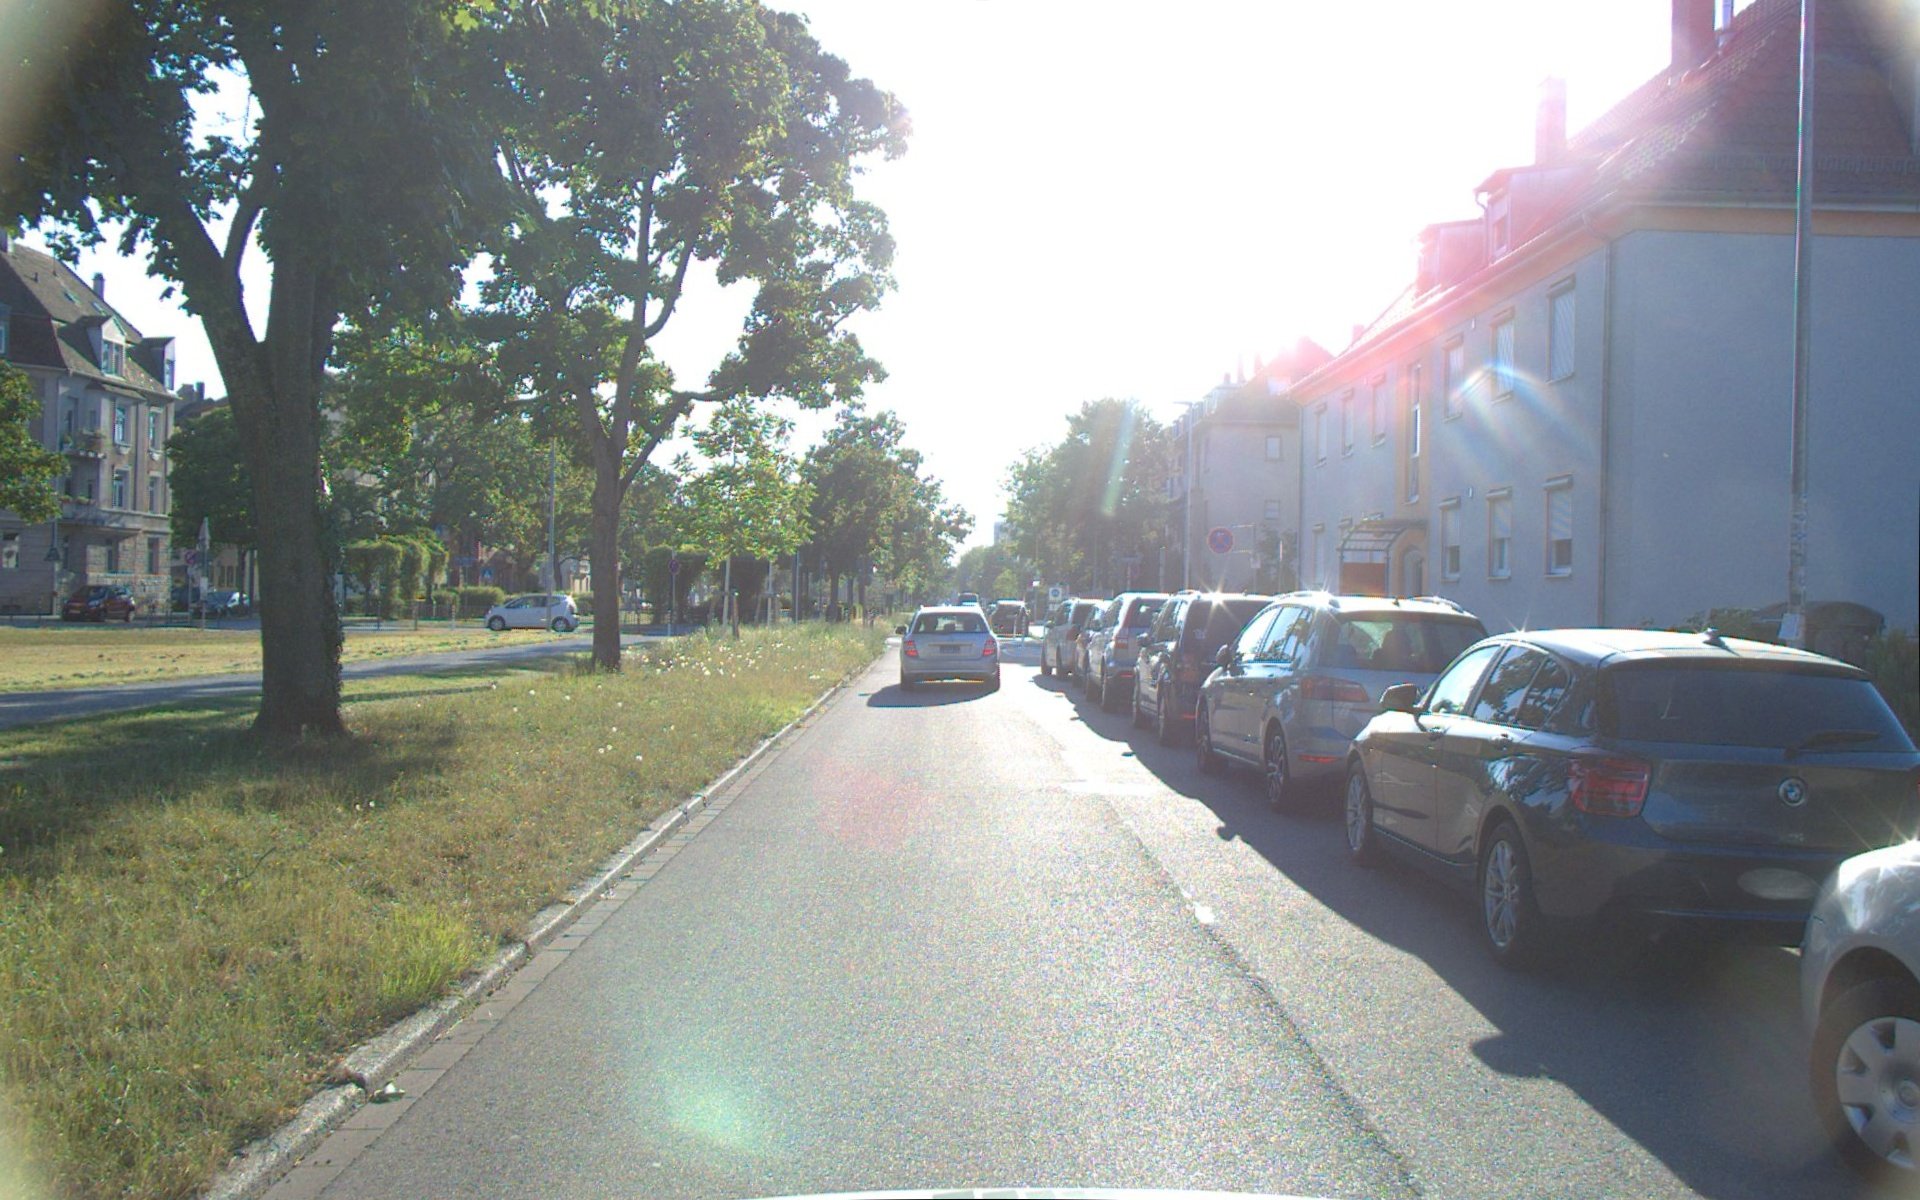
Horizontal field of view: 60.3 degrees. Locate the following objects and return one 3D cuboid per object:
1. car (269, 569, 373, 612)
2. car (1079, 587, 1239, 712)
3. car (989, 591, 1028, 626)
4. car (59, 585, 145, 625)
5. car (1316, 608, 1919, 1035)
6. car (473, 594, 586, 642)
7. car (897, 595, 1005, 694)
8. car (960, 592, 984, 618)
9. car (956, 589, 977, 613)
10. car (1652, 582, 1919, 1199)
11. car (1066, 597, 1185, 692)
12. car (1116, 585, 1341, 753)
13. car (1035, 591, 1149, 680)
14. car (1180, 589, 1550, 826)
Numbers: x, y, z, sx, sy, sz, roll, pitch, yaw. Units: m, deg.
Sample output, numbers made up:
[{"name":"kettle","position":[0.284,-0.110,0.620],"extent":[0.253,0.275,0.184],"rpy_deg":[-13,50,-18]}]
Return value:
[{"name":"car","position":[-42.267,-0.619,109.455],"extent":[6.231,2.768,1.982],"rpy_deg":[1,0,-31]},{"name":"car","position":[2.867,0.682,24.789],"extent":[1.741,1.672,4.755],"rpy_deg":[1,0,-1]},{"name":"car","position":[2.288,0.425,78.775],"extent":[1.686,1.625,3.999],"rpy_deg":[0,-1,0]},{"name":"car","position":[-39.237,0.254,75.722],"extent":[1.610,1.737,4.293],"rpy_deg":[-3,-1,1]},{"name":"car","position":[3.269,0.840,8.375],"extent":[1.952,1.488,4.562],"rpy_deg":[2,0,1]},{"name":"car","position":[-16.426,0.699,63.217],"extent":[3.817,1.624,1.998],"rpy_deg":[-3,-1,-5]},{"name":"car","position":[-0.149,0.733,29.428],"extent":[1.786,1.594,4.000],"rpy_deg":[0,0,0]},{"name":"car","position":[0.963,0.391,137.069],"extent":[1.948,2.059,4.000],"rpy_deg":[1,0,0]},{"name":"car","position":[0.599,0.074,155.122],"extent":[1.823,2.231,5.069],"rpy_deg":[1,0,0]},{"name":"car","position":[3.290,0.811,3.428],"extent":[1.694,1.575,4.205],"rpy_deg":[5,-1,-3]},{"name":"car","position":[2.912,0.748,29.728],"extent":[1.694,1.553,3.734],"rpy_deg":[-1,0,-1]},{"name":"car","position":[2.985,0.733,19.354],"extent":[1.730,1.663,4.763],"rpy_deg":[2,-1,-1]},{"name":"car","position":[2.718,0.698,34.981],"extent":[1.683,1.667,4.560],"rpy_deg":[3,0,-4]},{"name":"car","position":[3.081,0.736,13.548],"extent":[1.690,1.588,4.414],"rpy_deg":[1,0,-3]}]
